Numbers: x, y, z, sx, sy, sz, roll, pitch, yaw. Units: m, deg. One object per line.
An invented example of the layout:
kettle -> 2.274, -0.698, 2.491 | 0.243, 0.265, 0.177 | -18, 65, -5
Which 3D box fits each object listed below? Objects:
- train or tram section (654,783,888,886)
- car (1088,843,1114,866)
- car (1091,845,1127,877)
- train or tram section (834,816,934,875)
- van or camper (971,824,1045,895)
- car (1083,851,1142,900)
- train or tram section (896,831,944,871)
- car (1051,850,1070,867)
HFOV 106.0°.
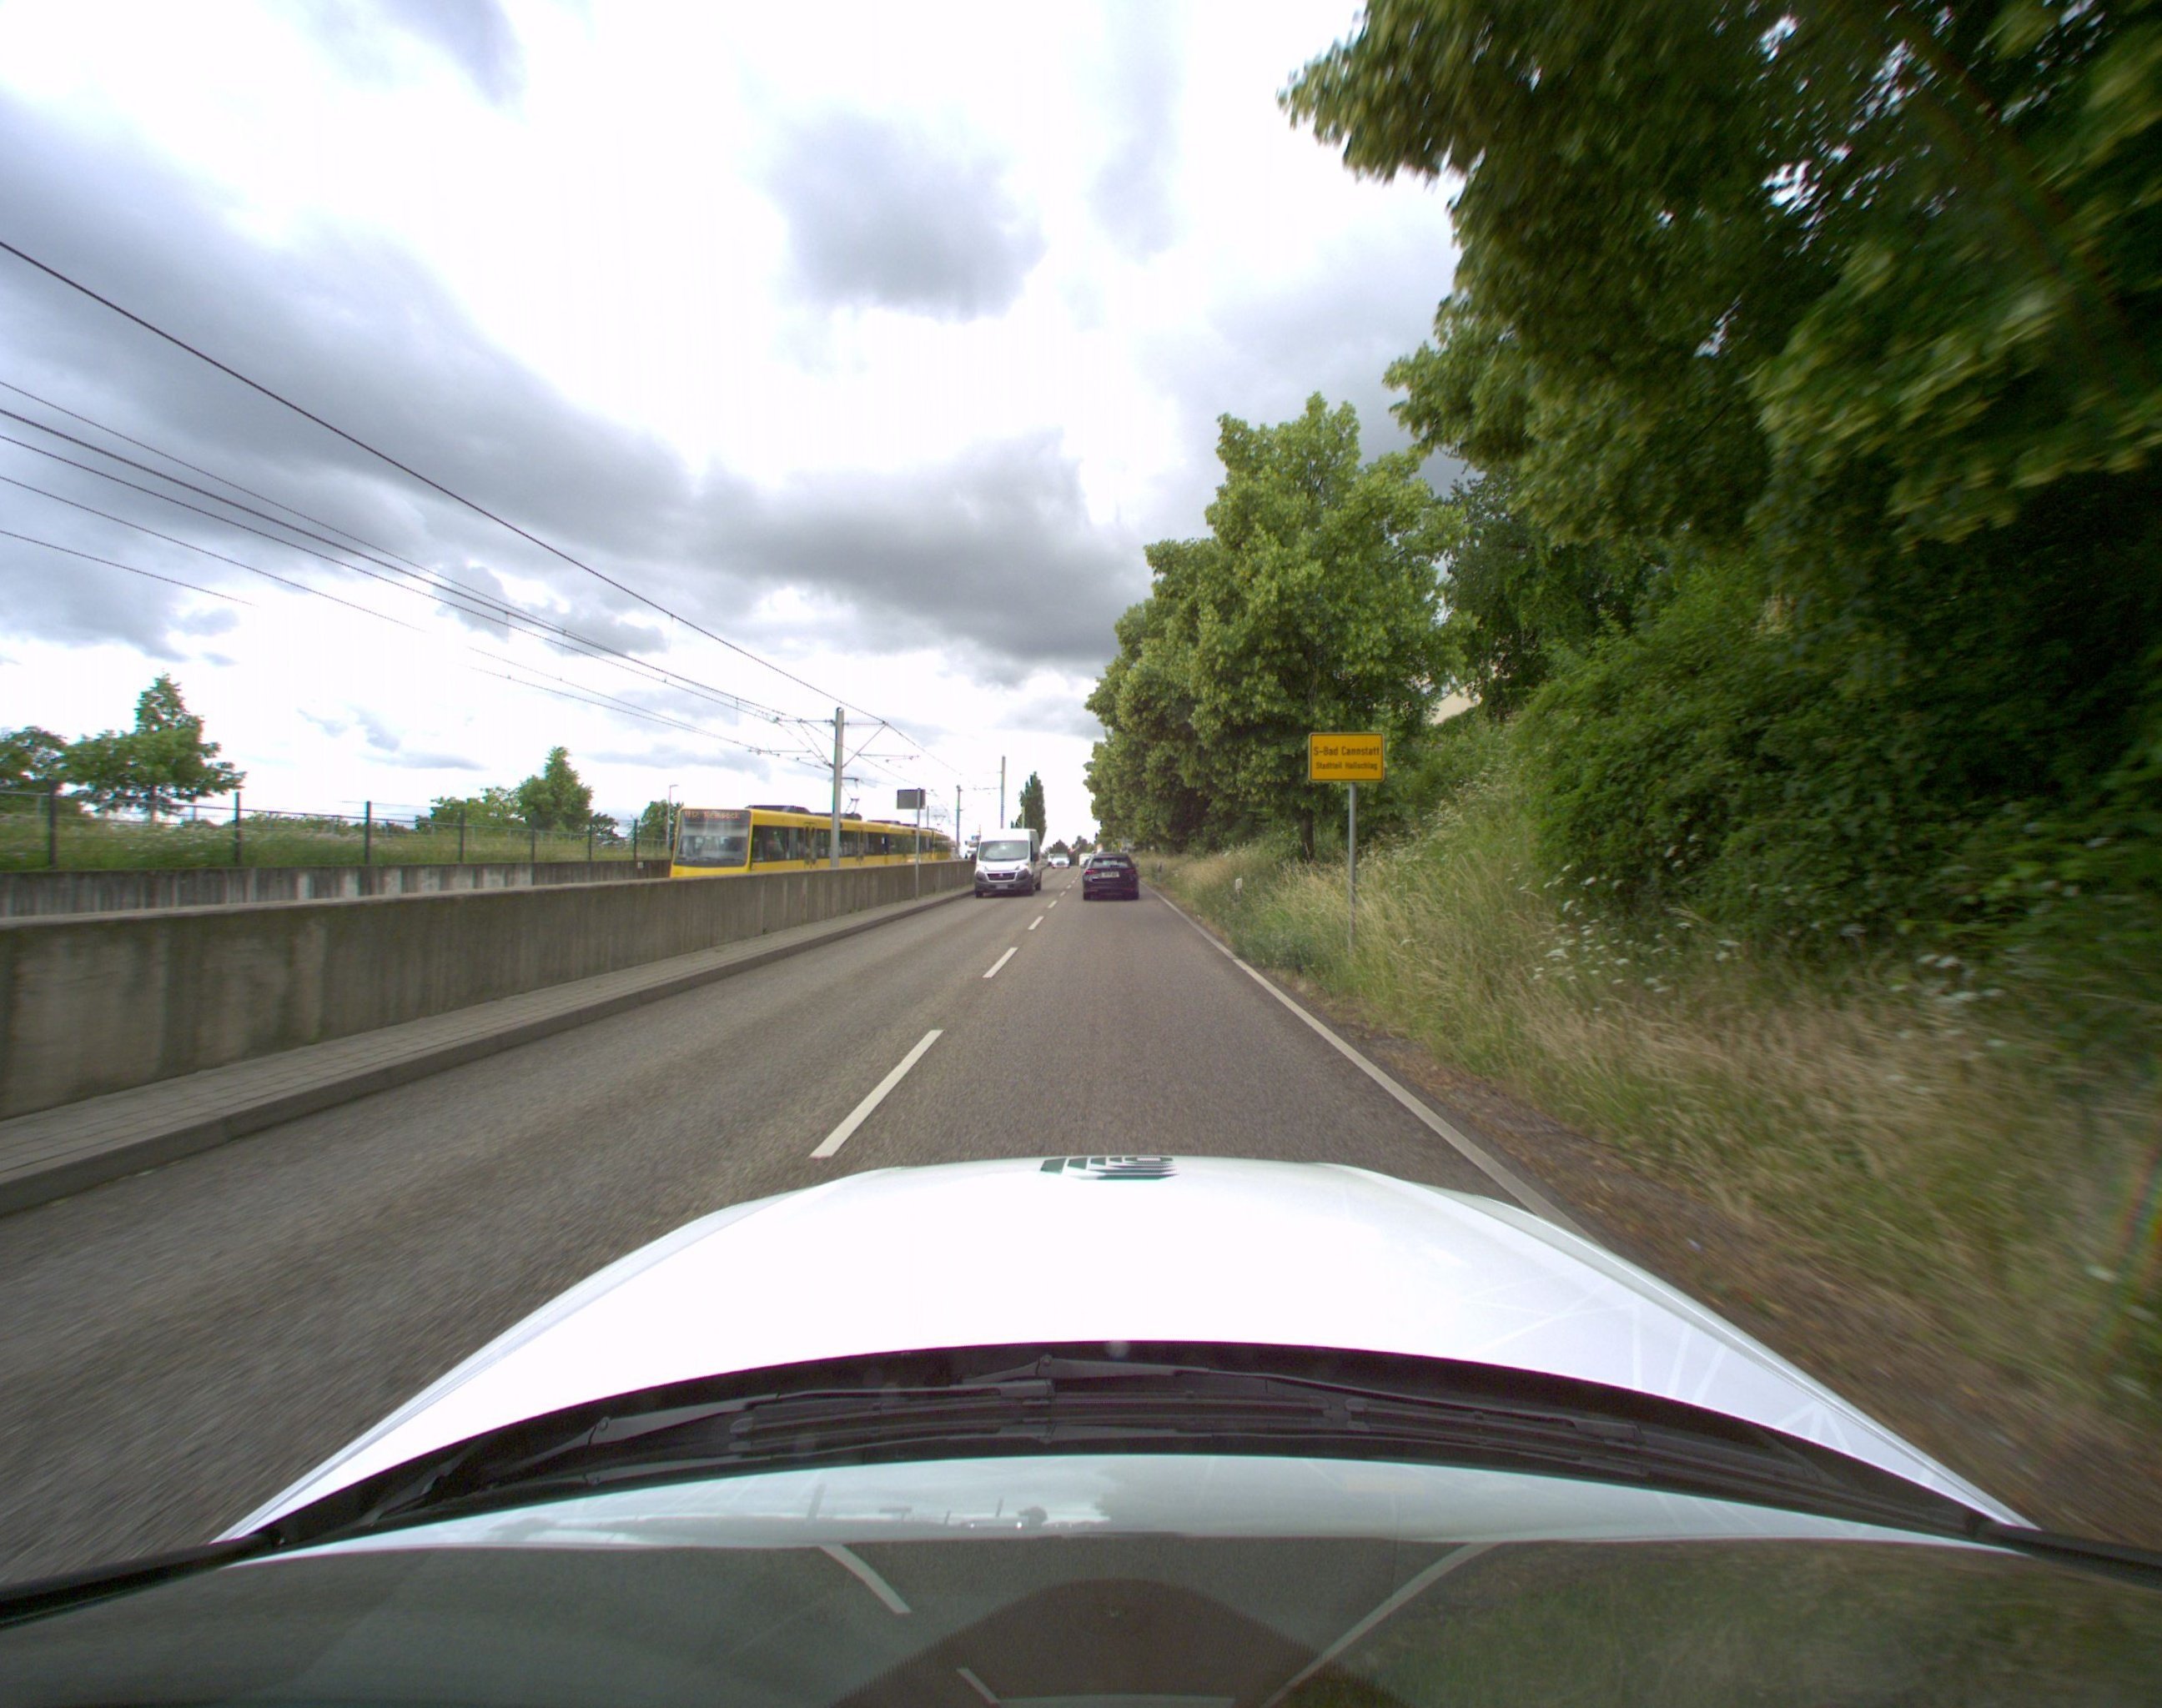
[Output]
train or tram section -> -11.769, -0.531, 34.458 | 2.803, 3.117, 18.908 | -1, 0, -1
car -> 1.578, 0.086, 65.257 | 1.986, 1.740, 4.001 | -1, -1, 1
car -> 1.651, 0.372, 47.978 | 1.986, 1.753, 4.001 | -1, 0, 1
train or tram section -> -12.278, -0.372, 53.156 | 2.798, 3.076, 19.078 | -1, 0, -3
van or camper -> -2.639, 0.164, 30.989 | 2.075, 2.396, 6.138 | -1, 0, 1
car -> 1.005, 0.639, 26.489 | 1.775, 1.468, 4.001 | -1, 0, 1
train or tram section -> -13.937, -0.154, 72.039 | 2.798, 3.025, 19.258 | -1, -1, -7
car -> -1.978, 0.392, 79.094 | 1.727, 1.572, 3.997 | -2, 0, -2
